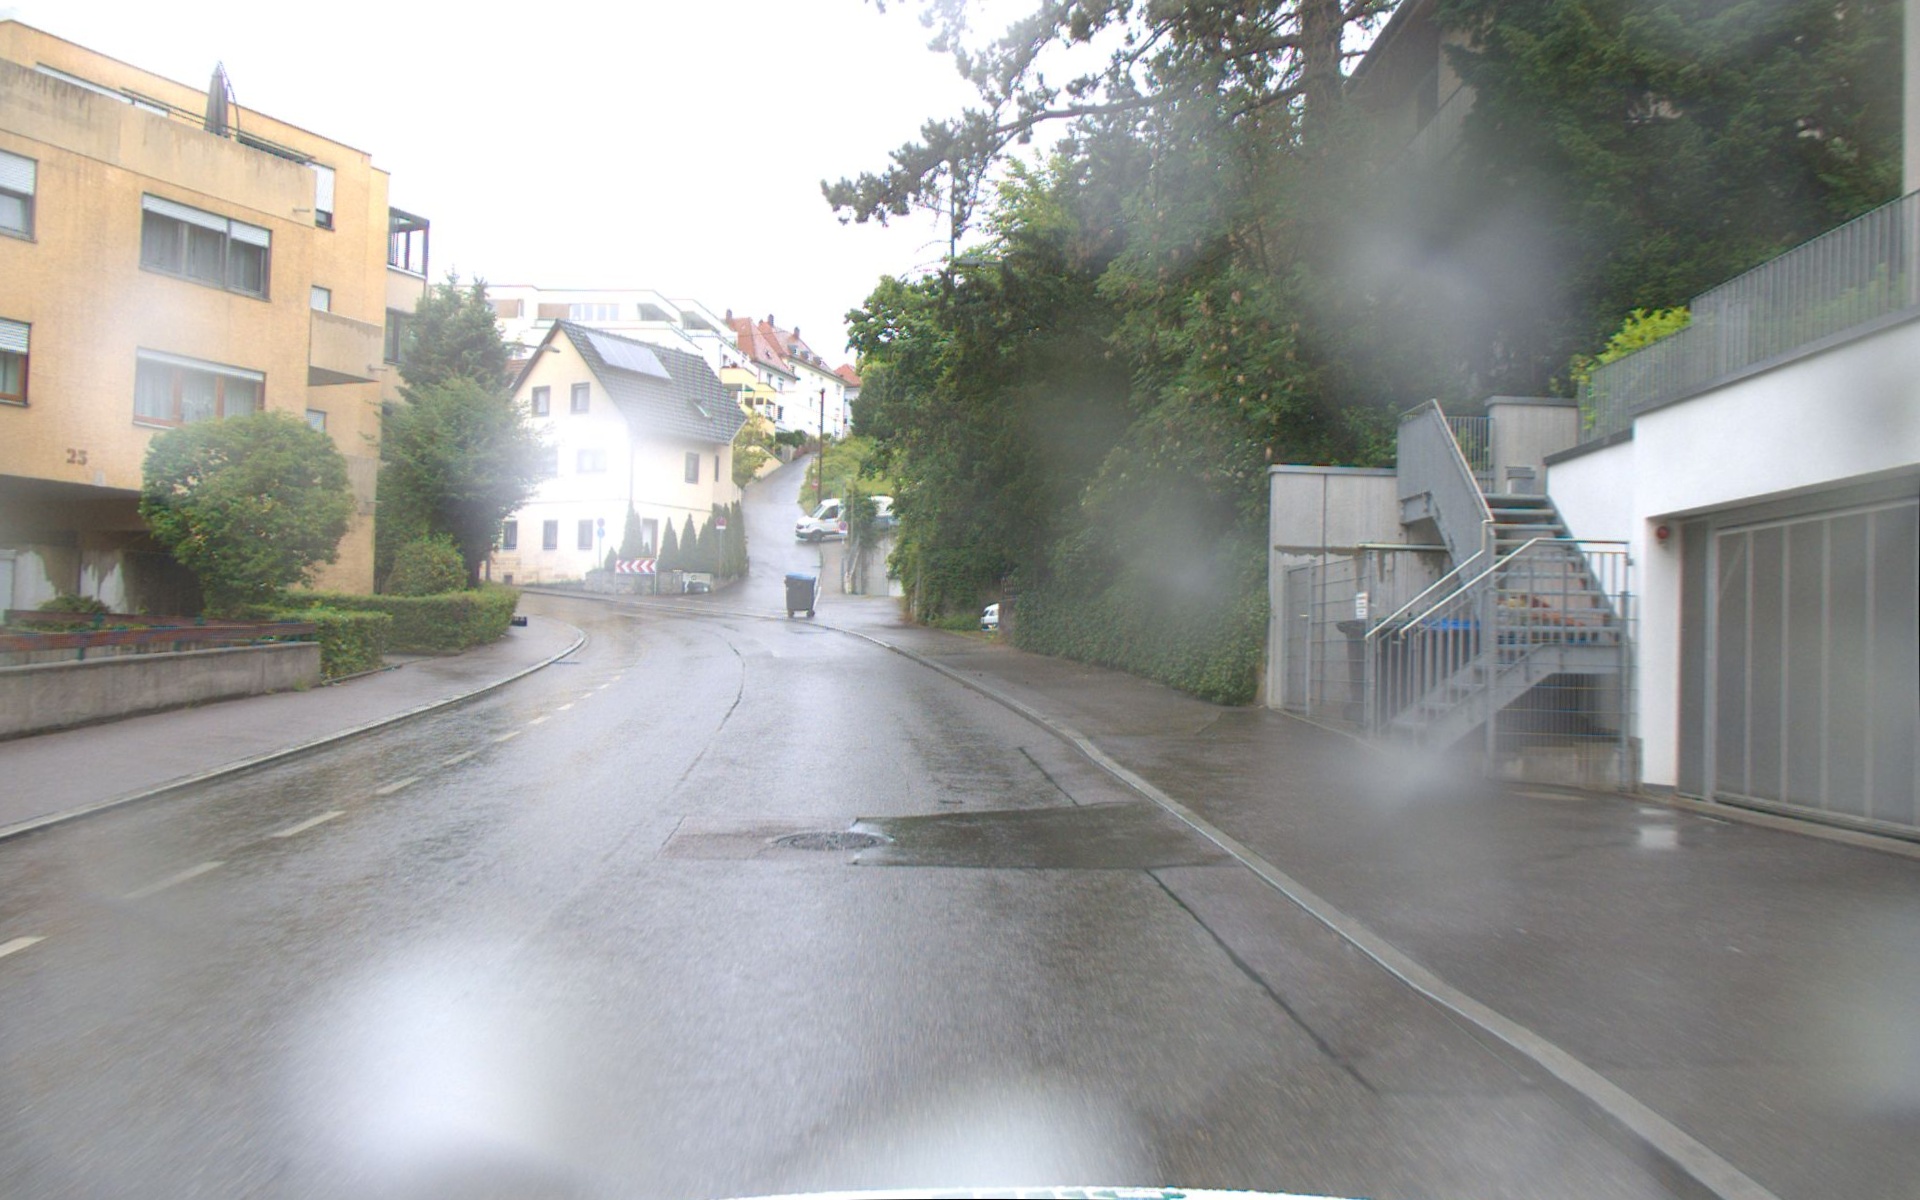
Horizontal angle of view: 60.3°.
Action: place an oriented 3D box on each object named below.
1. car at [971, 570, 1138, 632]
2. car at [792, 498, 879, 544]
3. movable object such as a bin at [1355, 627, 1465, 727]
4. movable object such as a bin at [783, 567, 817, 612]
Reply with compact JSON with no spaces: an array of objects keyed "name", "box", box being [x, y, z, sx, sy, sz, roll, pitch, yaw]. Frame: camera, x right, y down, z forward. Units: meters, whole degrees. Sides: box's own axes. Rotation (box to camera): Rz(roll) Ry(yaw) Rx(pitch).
[{"name":"car","box":[2.422,0.008,43.148,4.065,1.502,1.901,-1,1,-8]},{"name":"car","box":[-7.294,-4.624,96.948,4.855,2.614,1.899,-1,1,-11]},{"name":"movable object such as a bin","box":[4.559,0.771,16.797,0.857,0.957,0.745,1,1,-5]},{"name":"movable object such as a bin","box":[-5.387,-0.363,55.724,1.060,1.467,1.457,2,1,-4]}]
